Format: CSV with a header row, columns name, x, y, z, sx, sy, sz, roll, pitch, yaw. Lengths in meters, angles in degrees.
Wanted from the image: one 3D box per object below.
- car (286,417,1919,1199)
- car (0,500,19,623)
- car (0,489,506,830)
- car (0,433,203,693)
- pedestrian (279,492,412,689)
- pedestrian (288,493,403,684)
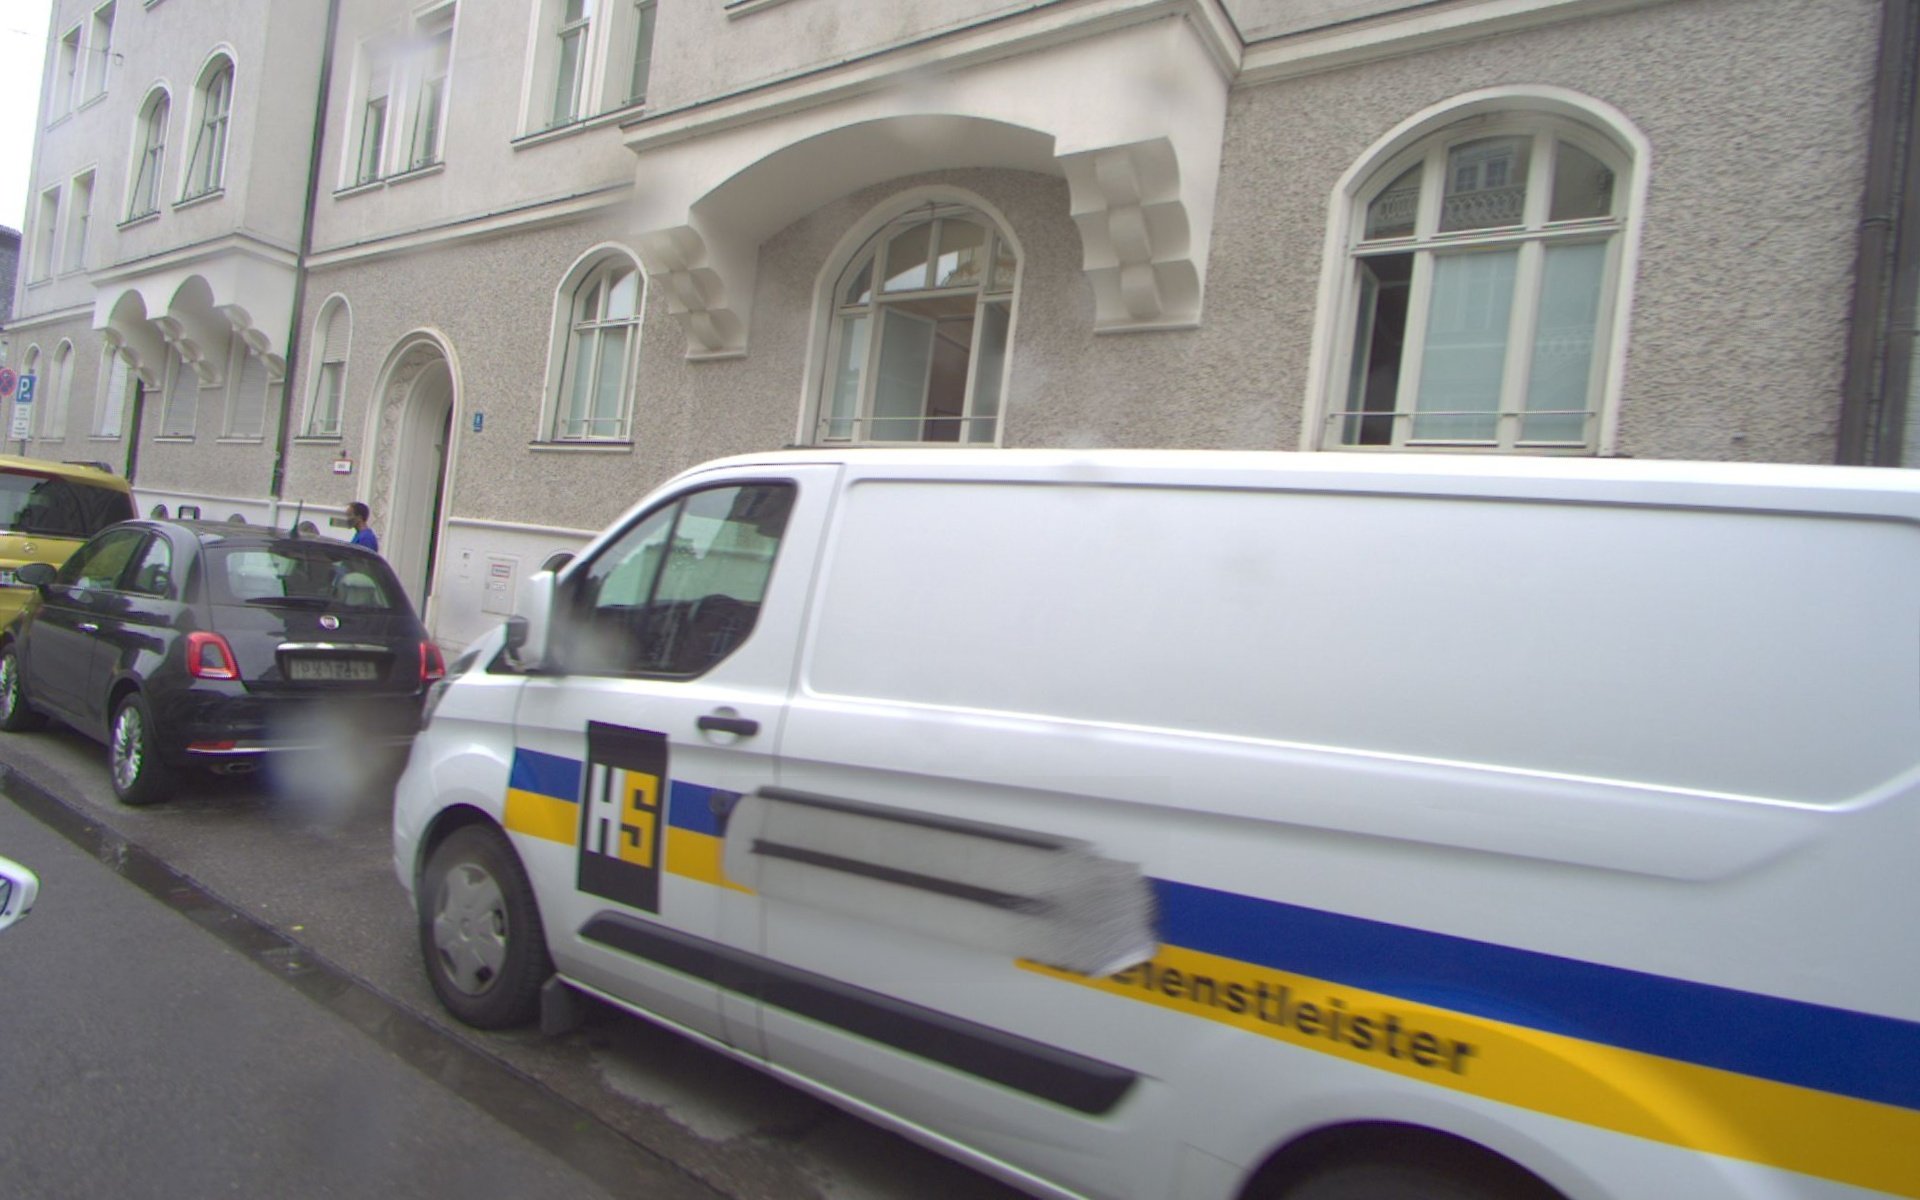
name,x,y,z,sx,sy,sz,roll,pitch,yaw
car,0.178,0.607,3.267,4.805,1.941,1.996,7,0,32
car,-13.367,-0.693,12.391,3.766,1.463,1.714,6,-1,34
car,-4.880,0.228,6.557,3.823,1.532,1.635,7,-1,34
car,-8.922,-0.458,9.094,4.501,1.941,1.994,6,0,36
pedestrian,-5.833,-0.084,9.559,0.746,1.750,0.658,7,0,32
pedestrian,-5.824,-0.091,9.545,0.447,1.722,0.638,7,0,33
